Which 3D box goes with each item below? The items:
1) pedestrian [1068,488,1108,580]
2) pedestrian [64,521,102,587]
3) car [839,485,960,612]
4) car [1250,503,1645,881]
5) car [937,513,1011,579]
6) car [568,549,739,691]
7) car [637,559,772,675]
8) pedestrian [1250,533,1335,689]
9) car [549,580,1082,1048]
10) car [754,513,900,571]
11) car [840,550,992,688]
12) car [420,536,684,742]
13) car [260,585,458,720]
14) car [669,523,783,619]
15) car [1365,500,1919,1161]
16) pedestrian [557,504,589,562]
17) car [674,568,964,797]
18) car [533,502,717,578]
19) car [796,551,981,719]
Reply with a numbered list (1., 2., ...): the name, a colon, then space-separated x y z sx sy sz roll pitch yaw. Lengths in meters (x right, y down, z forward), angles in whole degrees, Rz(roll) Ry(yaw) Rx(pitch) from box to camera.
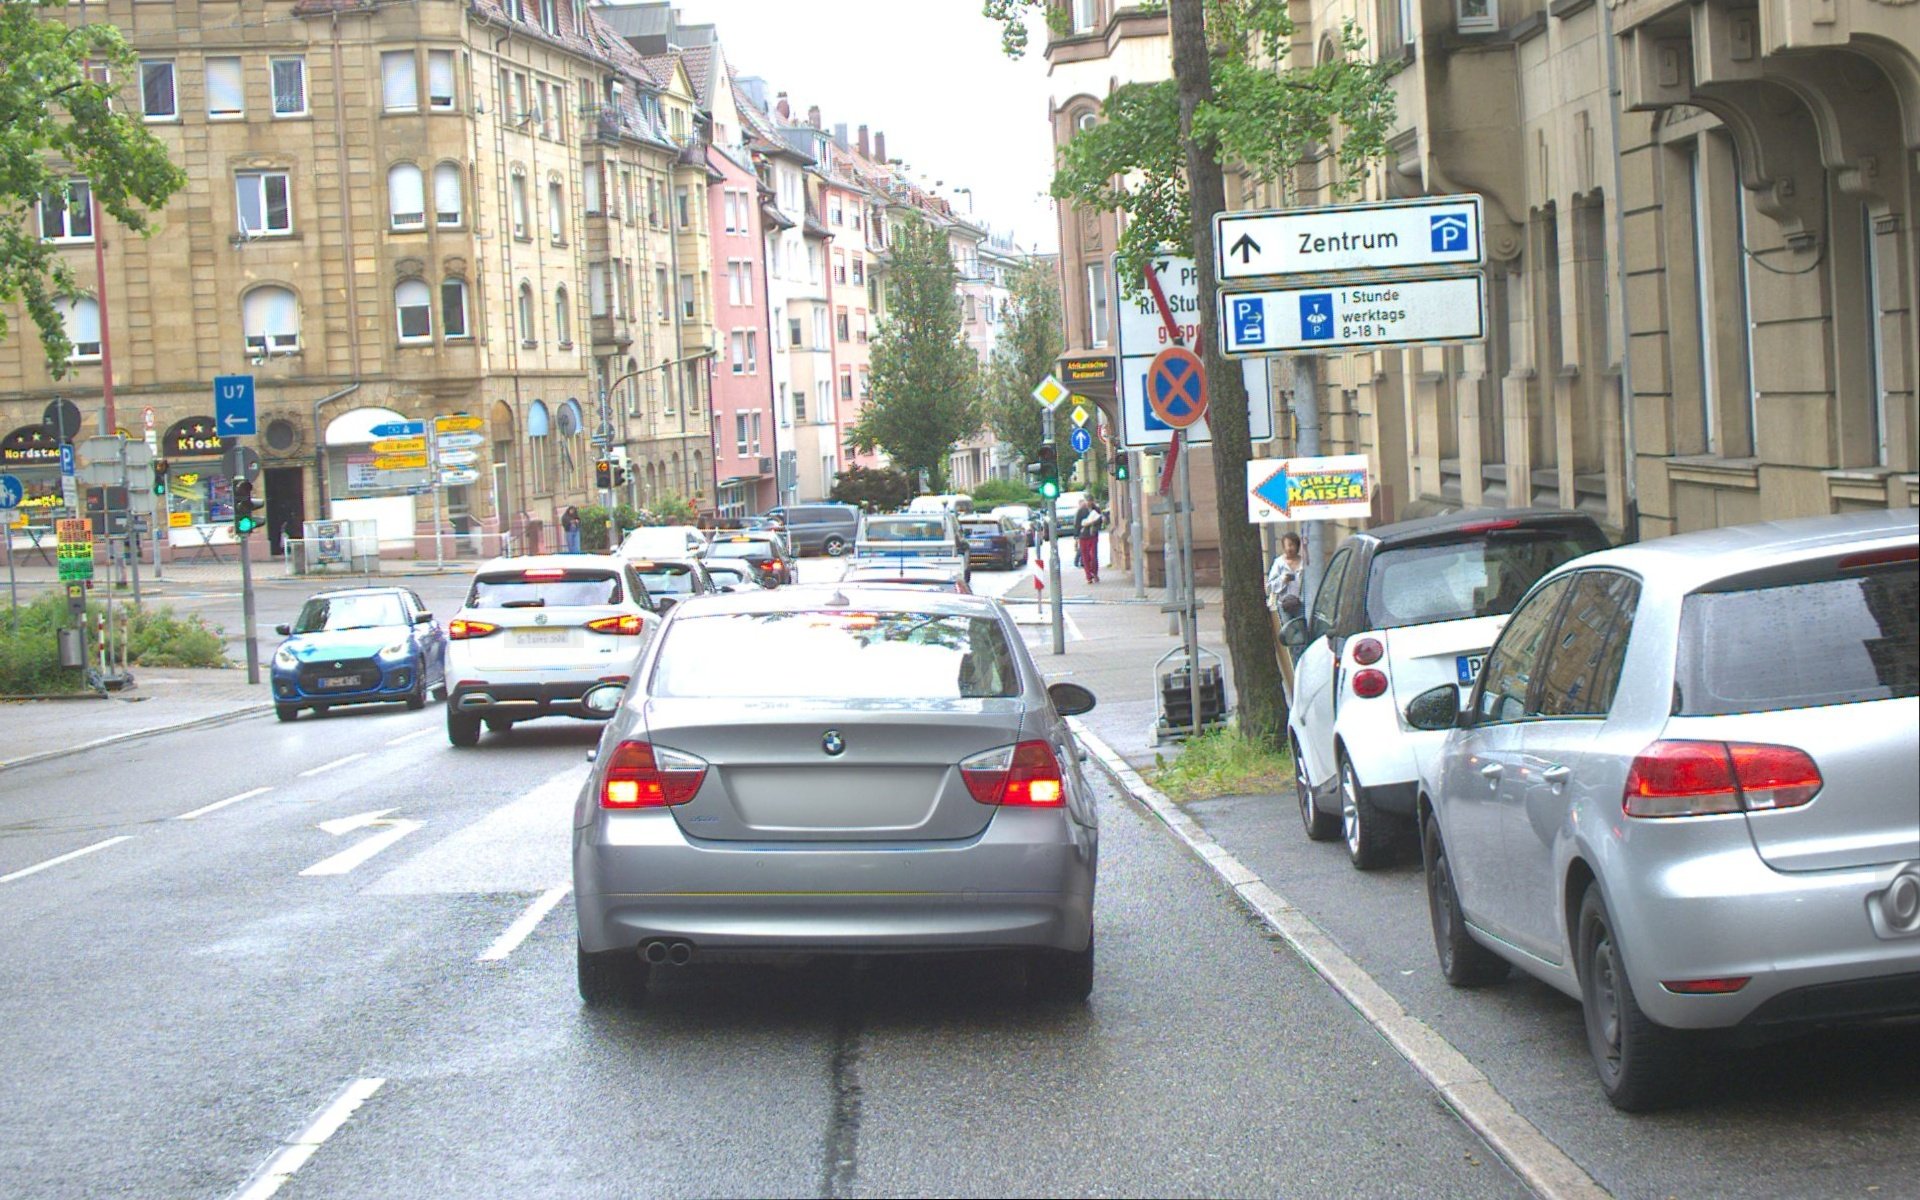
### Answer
1. pedestrian: 2.674 -1.383 71.966 0.742 1.903 0.659 -2 1 -1
2. pedestrian: -21.028 -1.106 82.424 0.537 1.572 0.719 -2 1 16
3. car: -1.019 -0.870 58.894 1.993 2.099 4.000 0 0 -1
4. car: 2.278 0.386 16.664 1.299 1.538 2.976 -6 1 -1
5. car: 0.362 -1.315 84.819 1.725 1.547 4.000 1 0 1
6. car: -3.866 0.216 43.946 1.759 1.702 4.000 -1 1 1
7. car: -3.976 0.233 54.018 1.759 1.702 4.000 -1 1 1
8. pedestrian: 3.354 0.105 34.753 0.631 1.503 0.693 -6 1 -1
9. car: -0.424 0.648 12.382 1.623 1.378 3.615 -1 1 1
10. car: -4.774 -2.079 124.090 5.176 2.007 2.699 1 0 -1
11. car: -0.561 0.195 42.444 1.759 1.562 4.000 -1 1 -1
12. car: -3.586 0.289 30.875 1.868 1.620 4.000 -3 1 -1
13. car: -7.128 0.592 41.076 1.715 1.445 3.742 -2 1 -1
14. car: -4.303 -0.556 63.714 1.759 1.702 4.000 -1 1 1
15. car: 2.416 0.498 10.217 1.759 1.446 4.000 -6 1 -1
16. pedestrian: -10.662 -1.835 94.763 0.732 1.572 0.528 -2 1 8
17. car: -0.881 0.499 23.533 1.759 1.378 4.000 -1 1 1
18. car: -7.370 -1.314 75.912 1.997 1.573 3.993 1 0 32
19. car: -0.619 0.281 32.298 1.595 1.459 4.000 1 1 1
